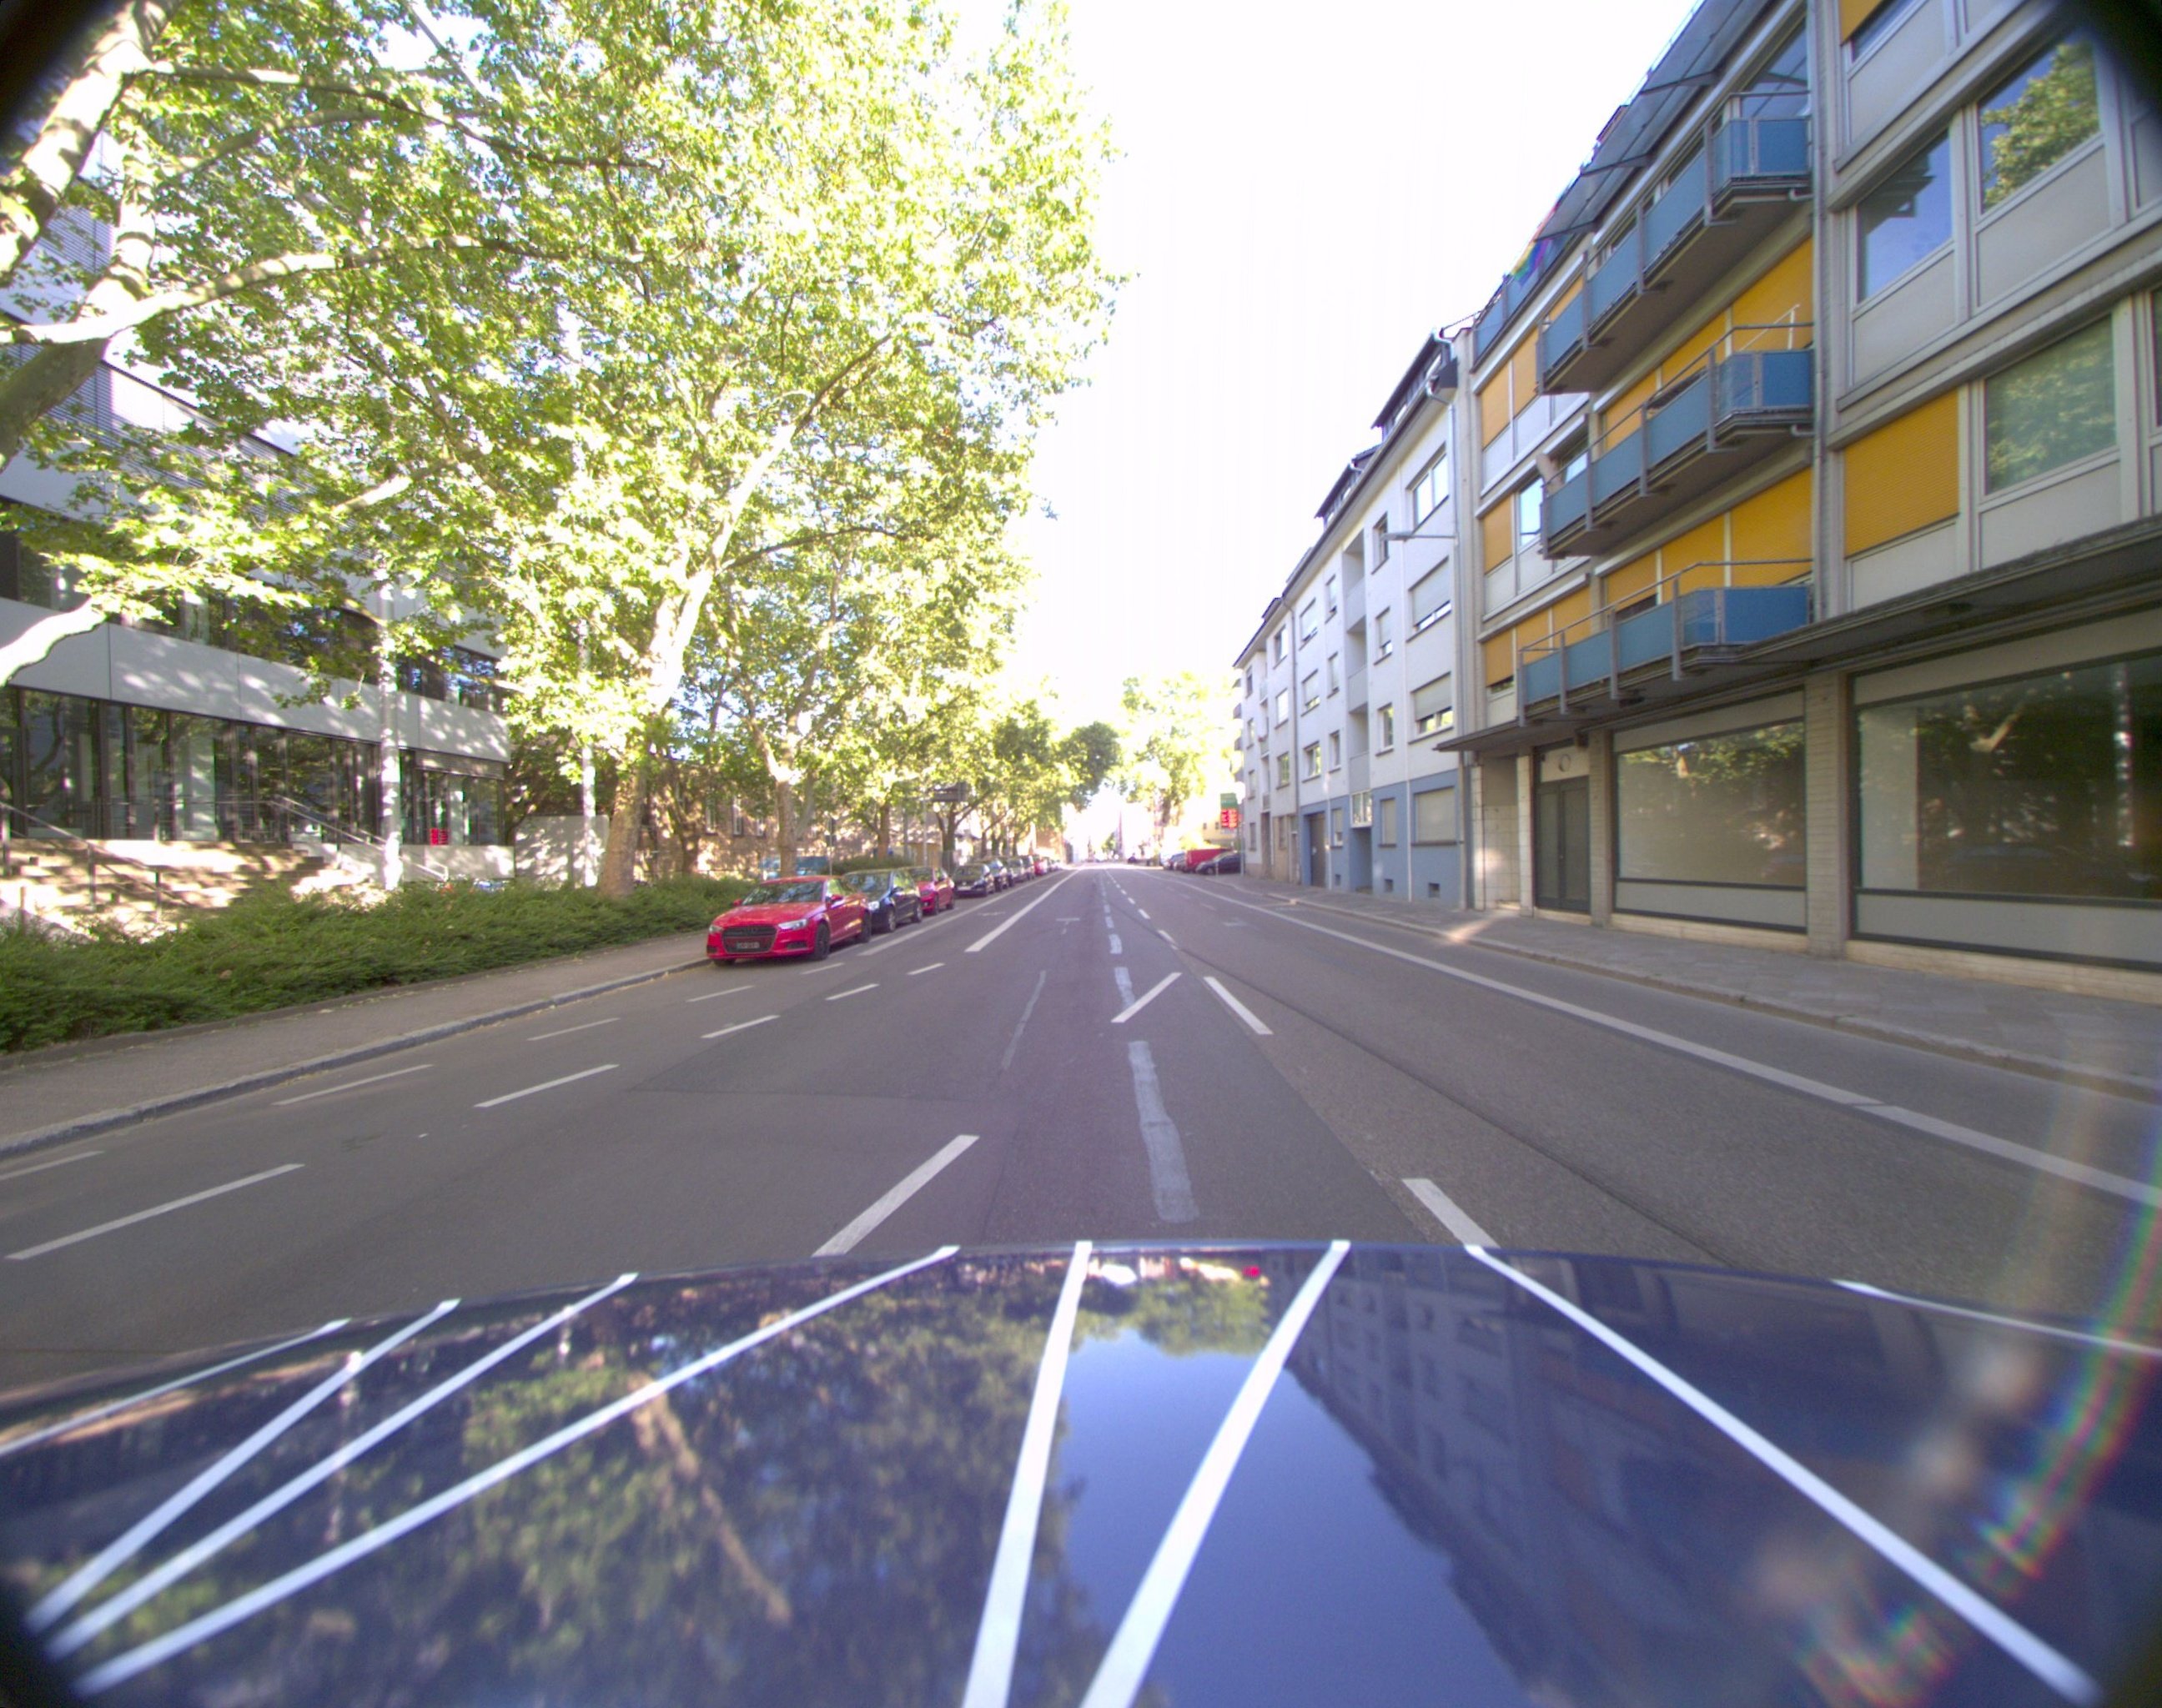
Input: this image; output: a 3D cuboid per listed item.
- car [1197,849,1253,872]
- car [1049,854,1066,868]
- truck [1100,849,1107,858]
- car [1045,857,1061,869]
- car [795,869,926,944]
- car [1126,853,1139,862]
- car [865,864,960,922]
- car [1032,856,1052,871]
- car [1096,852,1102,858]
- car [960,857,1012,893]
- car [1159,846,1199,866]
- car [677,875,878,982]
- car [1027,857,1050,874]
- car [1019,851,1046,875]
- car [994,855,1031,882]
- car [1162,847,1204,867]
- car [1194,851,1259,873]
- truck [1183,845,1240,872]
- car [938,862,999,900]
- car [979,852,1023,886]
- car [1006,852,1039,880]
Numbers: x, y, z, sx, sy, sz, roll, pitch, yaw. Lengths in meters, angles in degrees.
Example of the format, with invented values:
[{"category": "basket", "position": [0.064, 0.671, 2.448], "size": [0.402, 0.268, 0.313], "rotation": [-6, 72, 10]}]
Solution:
[{"category": "car", "position": [10.804, 0.457, 57.117], "size": [3.810, 1.563, 1.658], "rotation": [-2, 1, 0]}, {"category": "car", "position": [-3.181, 0.915, 103.011], "size": [1.998, 1.682, 3.999], "rotation": [-2, 1, 1]}, {"category": "truck", "position": [6.886, -0.276, 233.826], "size": [1.998, 2.653, 5.314], "rotation": [-2, 1, 0]}, {"category": "car", "position": [-3.343, 1.078, 92.740], "size": [1.693, 1.364, 3.999], "rotation": [-2, 1, 1]}, {"category": "car", "position": [-5.171, 1.170, 18.342], "size": [1.998, 1.452, 3.644], "rotation": [-2, 1, 1]}, {"category": "car", "position": [10.174, 0.659, 148.669], "size": [1.845, 1.668, 4.003], "rotation": [-2, 1, 14]}, {"category": "car", "position": [-5.127, 1.151, 23.675], "size": [1.998, 1.490, 3.828], "rotation": [-2, 1, 1]}, {"category": "car", "position": [-4.134, 0.994, 80.752], "size": [1.824, 1.466, 3.999], "rotation": [-2, 1, 1]}, {"category": "car", "position": [6.175, 0.212, 259.457], "size": [1.998, 2.002, 3.999], "rotation": [-2, 1, 1]}, {"category": "car", "position": [-4.683, 1.009, 38.126], "size": [1.998, 1.592, 4.142], "rotation": [-2, 1, 1]}, {"category": "car", "position": [10.953, 0.226, 85.316], "size": [4.236, 2.025, 2.000], "rotation": [-2, 1, 3]}, {"category": "car", "position": [-5.187, 1.198, 13.640], "size": [1.907, 1.417, 3.999], "rotation": [-2, 1, 1]}, {"category": "car", "position": [-4.033, 1.088, 72.000], "size": [1.824, 1.466, 3.999], "rotation": [-2, 1, 1]}, {"category": "car", "position": [-4.220, 0.768, 66.383], "size": [1.998, 1.960, 3.999], "rotation": [-2, 1, 1]}, {"category": "car", "position": [-4.538, 0.936, 50.915], "size": [1.998, 1.557, 4.142], "rotation": [-2, 1, 1]}, {"category": "car", "position": [10.867, 0.292, 80.915], "size": [4.236, 1.945, 2.000], "rotation": [-2, 1, 3]}, {"category": "car", "position": [10.458, 0.578, 54.785], "size": [4.324, 1.398, 1.658], "rotation": [-2, 1, 0]}, {"category": "truck", "position": [10.290, 0.327, 60.215], "size": [4.092, 1.913, 2.000], "rotation": [-2, 1, 0]}, {"category": "car", "position": [-4.836, 1.132, 33.182], "size": [1.998, 1.447, 3.589], "rotation": [-2, 1, 1]}, {"category": "car", "position": [-4.606, 0.842, 44.519], "size": [1.998, 1.777, 4.572], "rotation": [-2, 1, 1]}, {"category": "car", "position": [-4.240, 0.849, 55.600], "size": [1.998, 1.838, 3.999], "rotation": [-2, 1, 1]}]
